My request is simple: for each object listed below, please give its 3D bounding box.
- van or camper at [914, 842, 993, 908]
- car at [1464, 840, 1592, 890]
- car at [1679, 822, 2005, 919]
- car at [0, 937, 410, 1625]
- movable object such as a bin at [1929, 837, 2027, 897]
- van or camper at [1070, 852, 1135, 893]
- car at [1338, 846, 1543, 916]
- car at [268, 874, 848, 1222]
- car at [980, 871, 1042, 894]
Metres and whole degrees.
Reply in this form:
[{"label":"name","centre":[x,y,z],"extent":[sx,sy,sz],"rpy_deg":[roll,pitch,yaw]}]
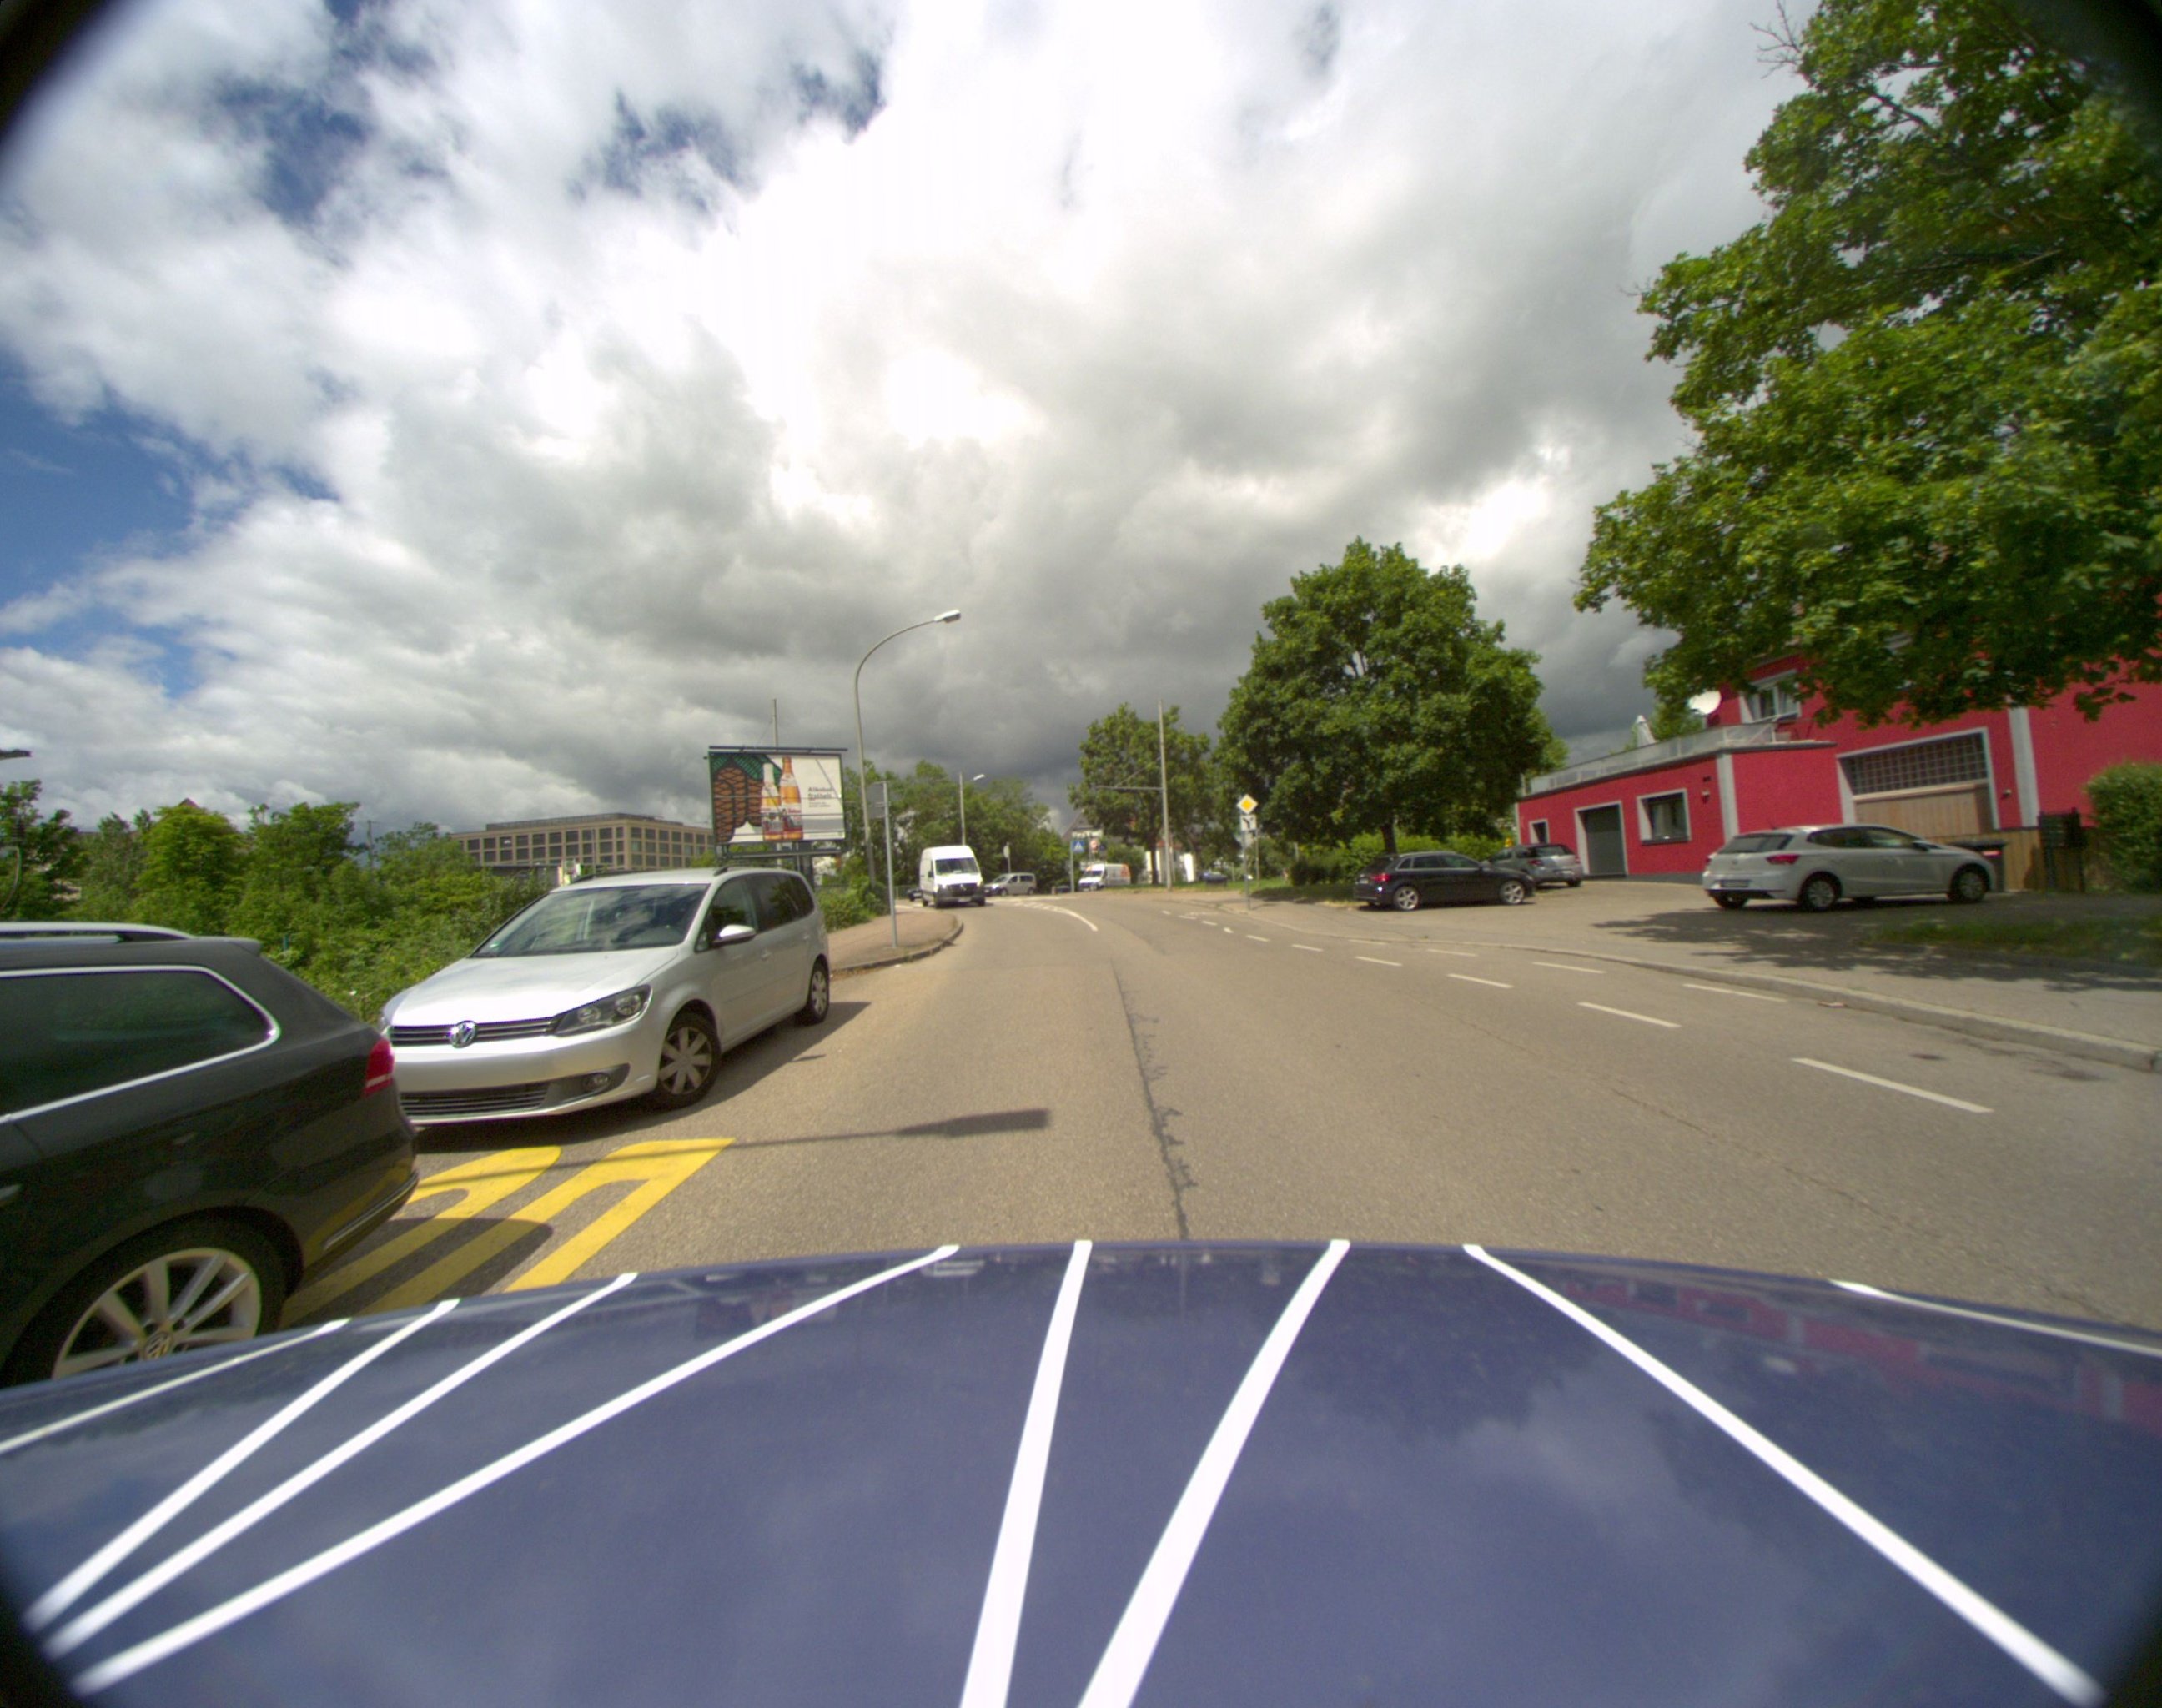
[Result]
[{"label":"van or camper","centre":[-5.601,0.962,32.679],"extent":[2.196,2.550,5.921],"rpy_deg":[0,-3,-21]},{"label":"car","centre":[14.566,0.374,25.033],"extent":[1.644,1.417,4.078],"rpy_deg":[-4,-1,-1]},{"label":"car","centre":[13.092,0.277,13.239],"extent":[3.930,1.395,1.876],"rpy_deg":[-3,-1,-4]},{"label":"car","centre":[-3.361,1.077,0.527],"extent":[1.710,1.478,4.573],"rpy_deg":[-4,-1,-1]},{"label":"movable object such as a bin","centre":[17.156,0.247,14.557],"extent":[0.757,1.055,0.881],"rpy_deg":[-4,0,3]},{"label":"van or camper","centre":[2.022,1.738,66.317],"extent":[2.266,2.975,8.347],"rpy_deg":[-5,-6,26]},{"label":"car","centre":[8.919,0.663,19.133],"extent":[4.141,1.385,2.000],"rpy_deg":[-4,-1,-1]},{"label":"car","centre":[-3.438,1.084,6.198],"extent":[1.710,1.668,4.308],"rpy_deg":[-4,-1,-1]},{"label":"car","centre":[-5.161,2.087,56.596],"extent":[1.995,1.577,4.412],"rpy_deg":[-5,-4,38]}]
